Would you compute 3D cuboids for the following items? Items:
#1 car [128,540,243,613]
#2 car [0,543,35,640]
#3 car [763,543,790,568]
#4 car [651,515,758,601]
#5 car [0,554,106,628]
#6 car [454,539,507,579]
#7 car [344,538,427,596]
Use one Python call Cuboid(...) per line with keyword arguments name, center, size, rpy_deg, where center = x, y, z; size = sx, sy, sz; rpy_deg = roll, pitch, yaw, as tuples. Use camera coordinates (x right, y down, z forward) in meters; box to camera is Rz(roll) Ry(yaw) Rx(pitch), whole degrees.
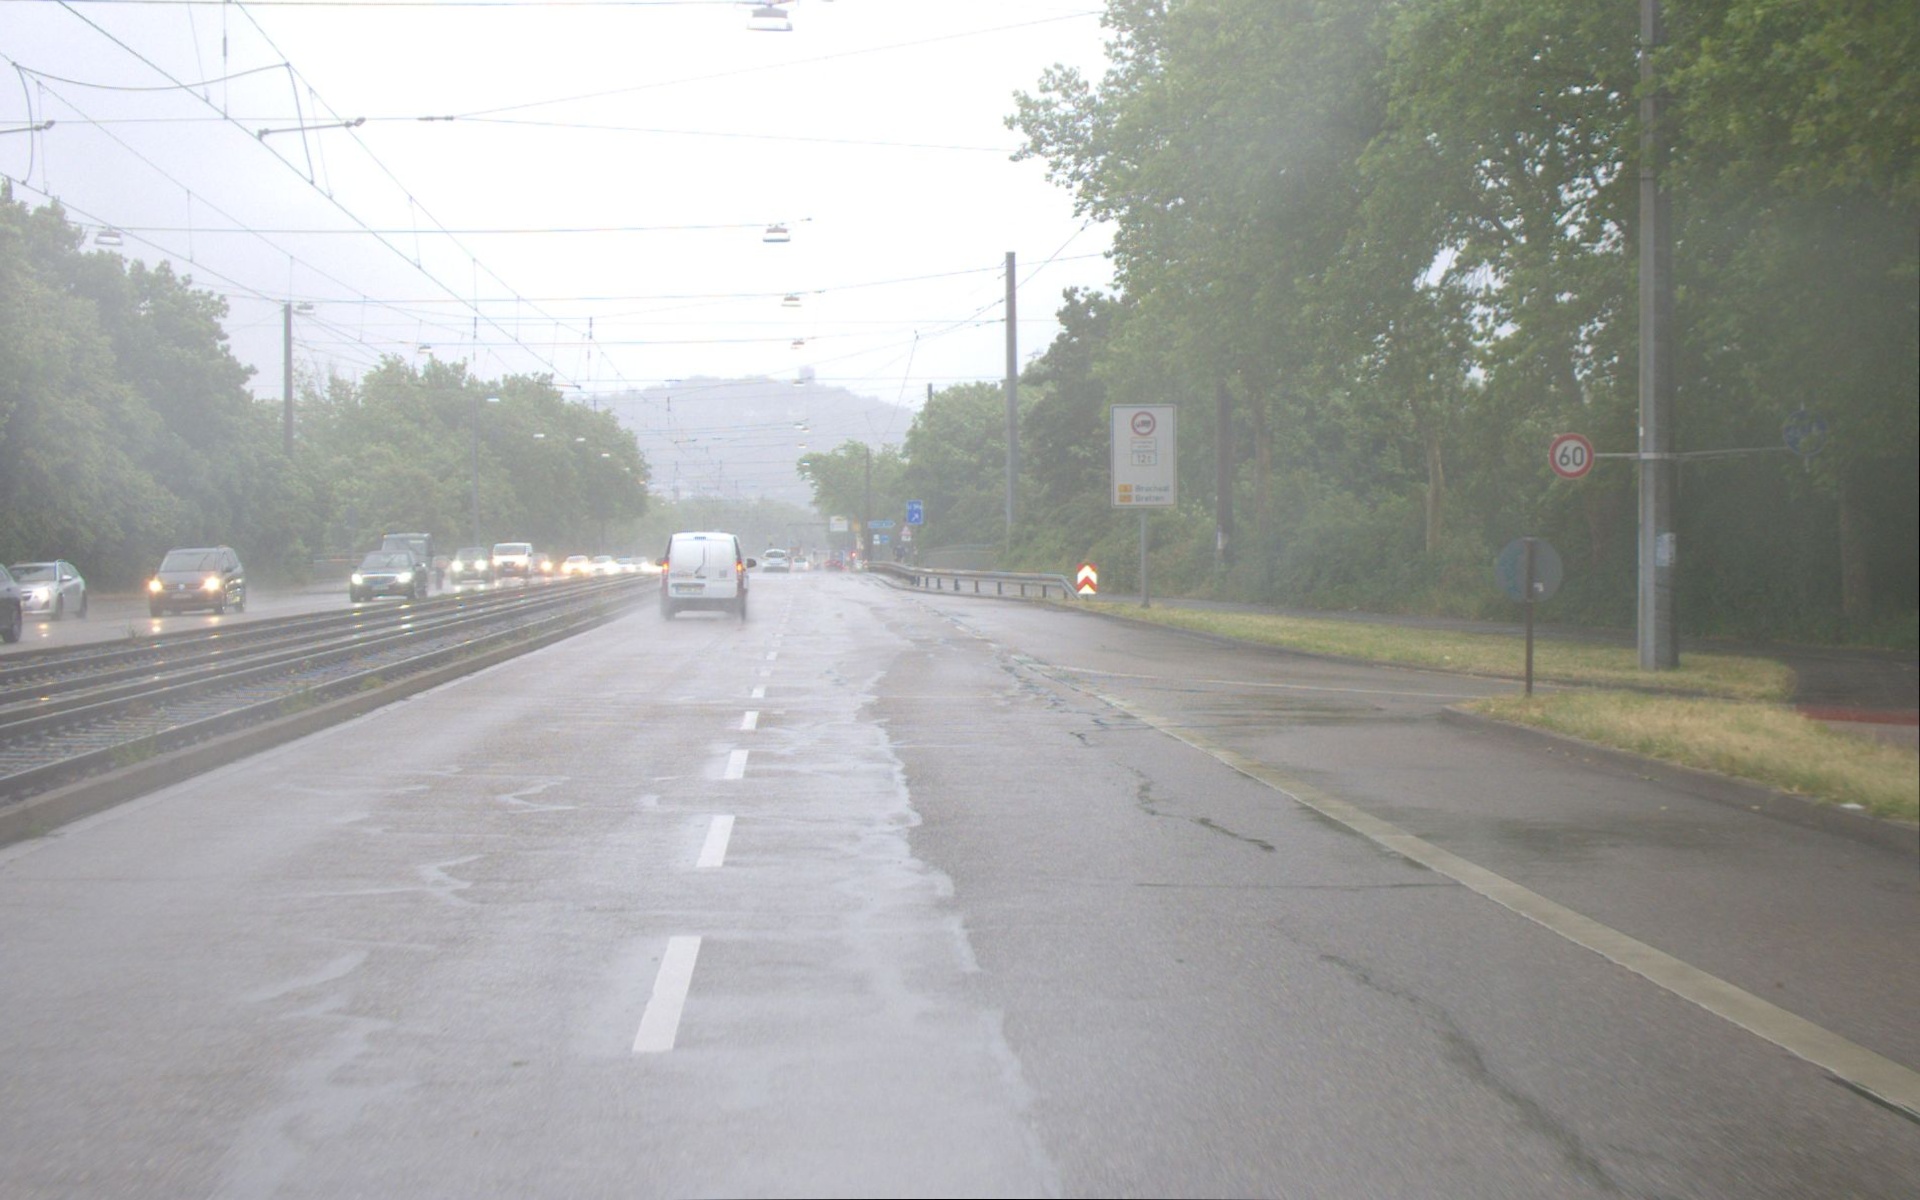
Cuboid(name="car", center=(-19.707, -0.629, 87.701), size=(1.819, 1.700, 6.106), rpy_deg=(1, 2, -3))
Cuboid(name="car", center=(-16.781, -0.135, 56.965), size=(1.790, 1.544, 5.314), rpy_deg=(1, 2, -4))
Cuboid(name="car", center=(-12.068, -2.929, 225.772), size=(1.743, 1.503, 3.700), rpy_deg=(1, 2, -3))
Cuboid(name="car", center=(-5.282, -0.904, 71.439), size=(1.989, 1.678, 3.740), rpy_deg=(1, 2, -1))
Cuboid(name="car", center=(-22.869, -0.254, 86.316), size=(1.819, 1.700, 5.021), rpy_deg=(1, 2, -3))
Cuboid(name="car", center=(-22.267, -1.911, 159.679), size=(1.841, 1.711, 4.163), rpy_deg=(1, 2, 0))
Cuboid(name="car", center=(-17.194, -0.999, 103.059), size=(1.776, 1.579, 5.682), rpy_deg=(1, 2, -3))
